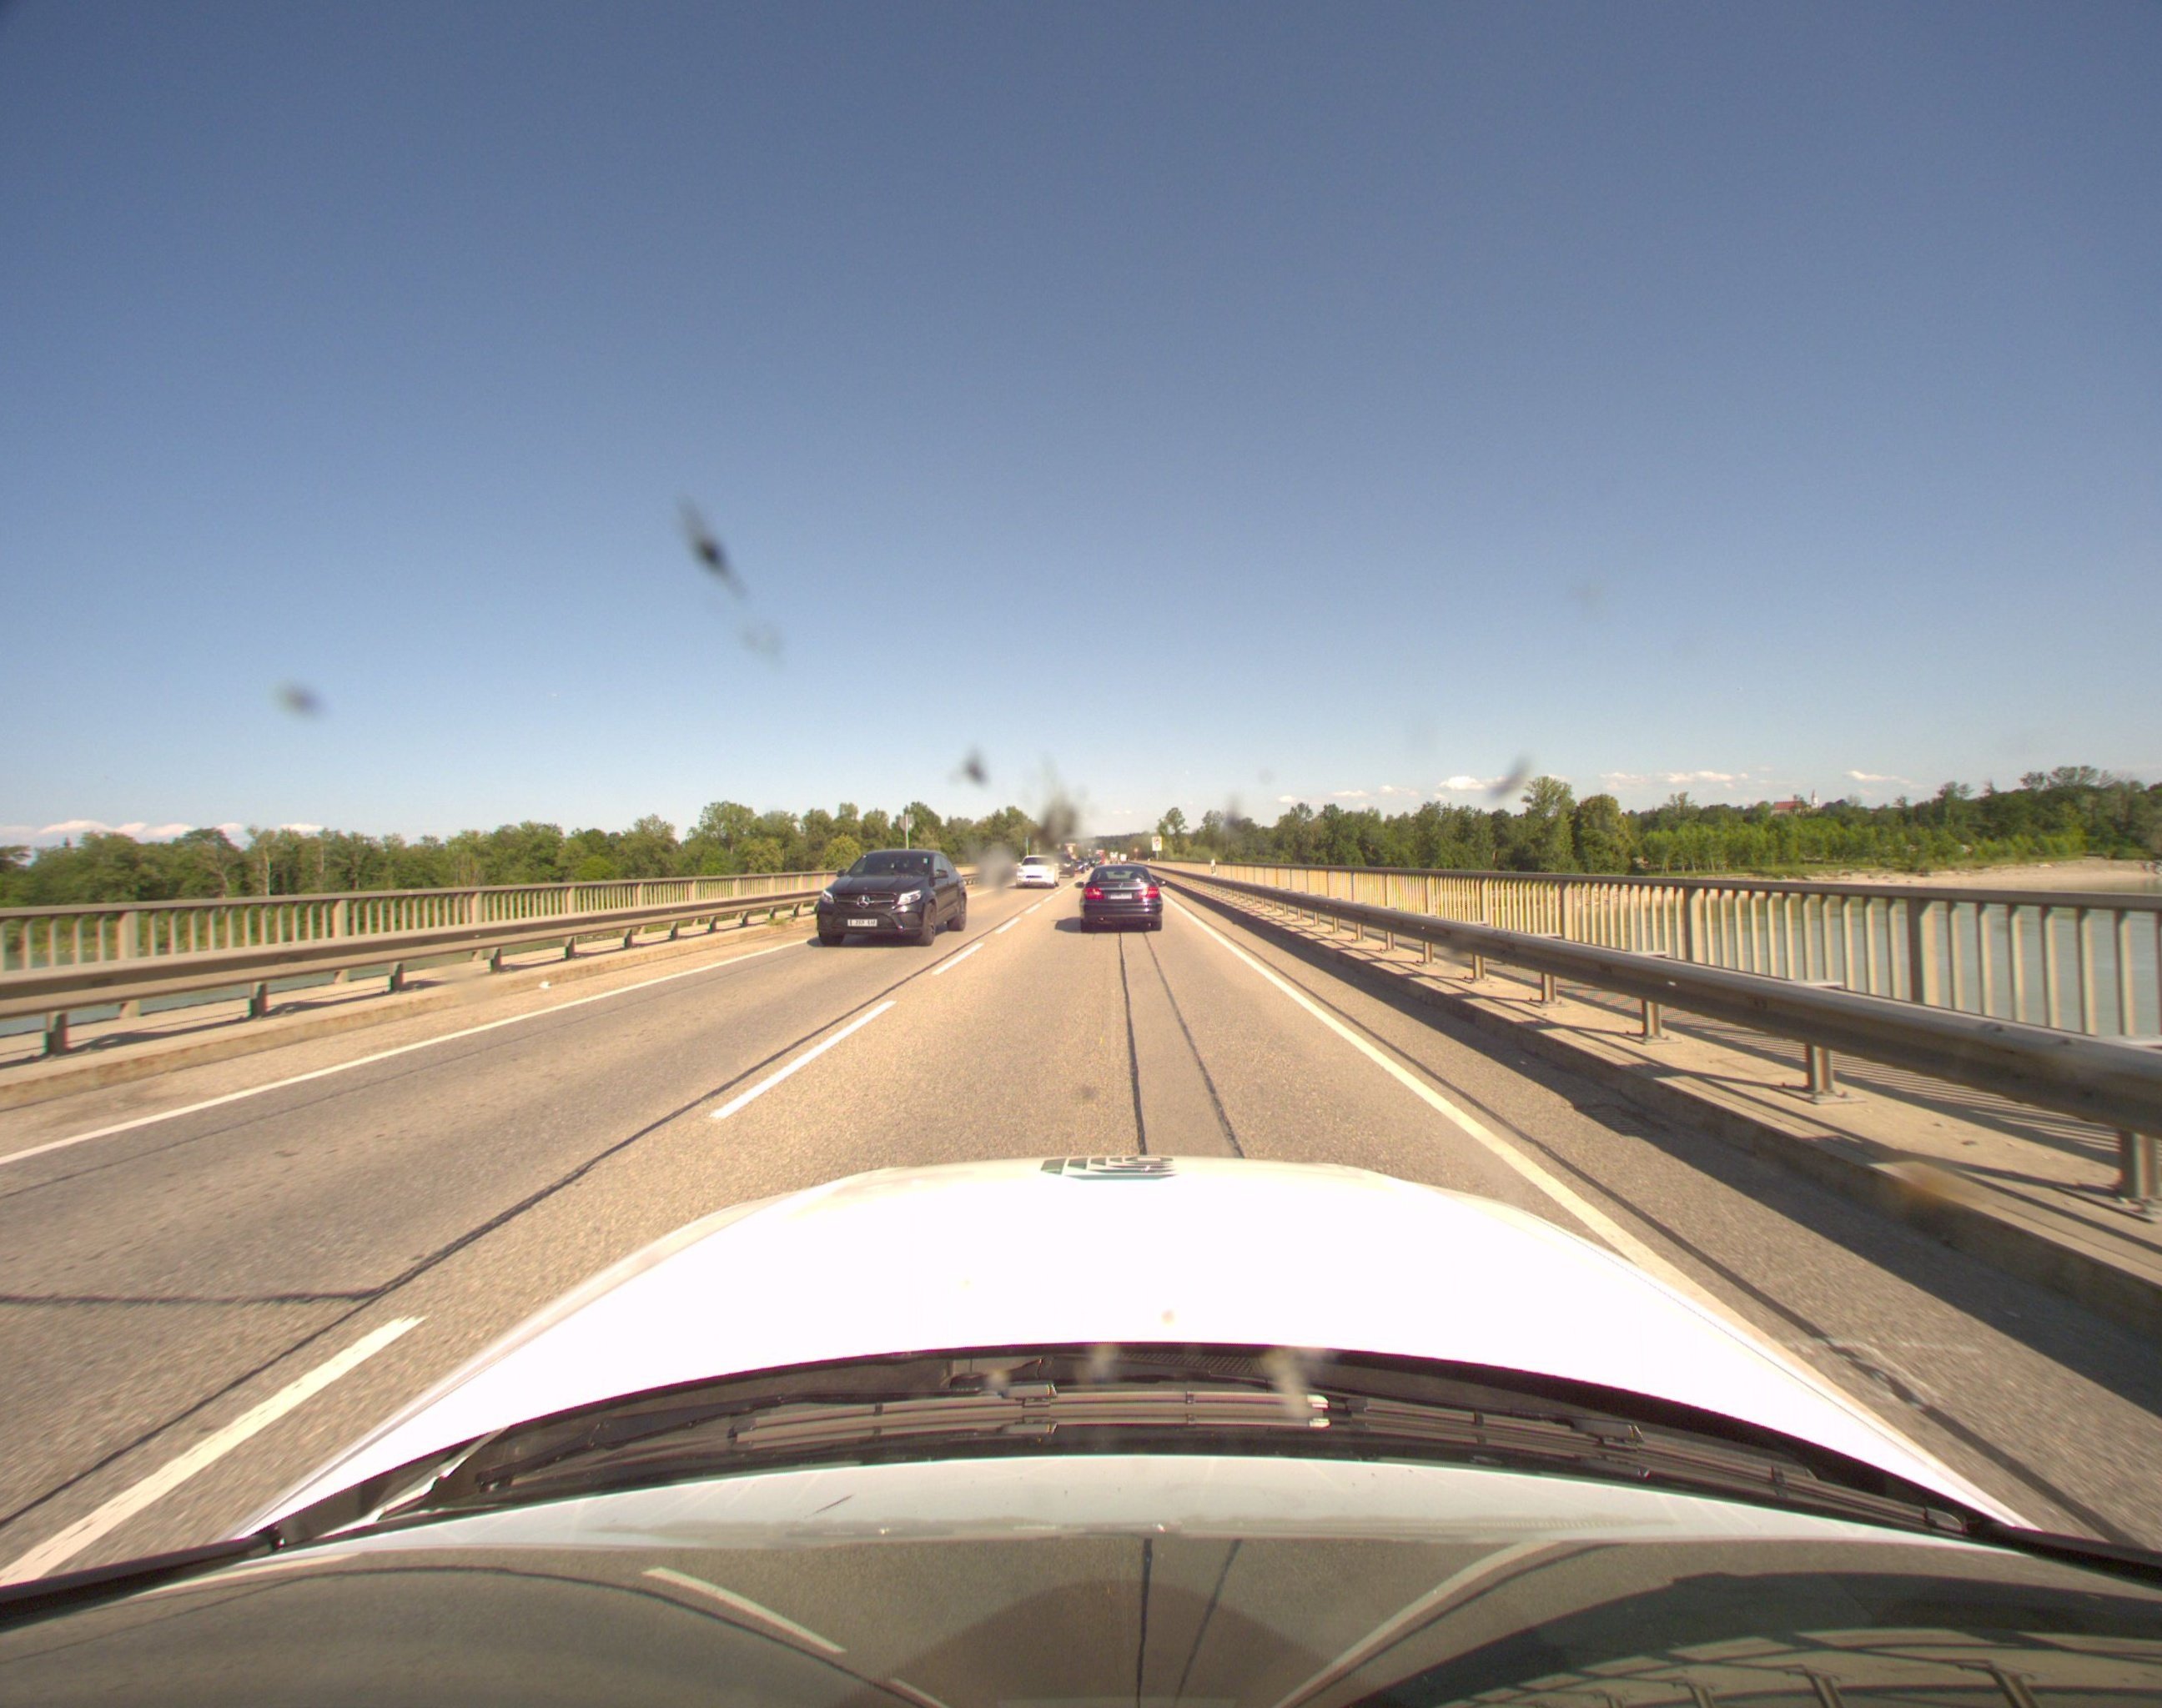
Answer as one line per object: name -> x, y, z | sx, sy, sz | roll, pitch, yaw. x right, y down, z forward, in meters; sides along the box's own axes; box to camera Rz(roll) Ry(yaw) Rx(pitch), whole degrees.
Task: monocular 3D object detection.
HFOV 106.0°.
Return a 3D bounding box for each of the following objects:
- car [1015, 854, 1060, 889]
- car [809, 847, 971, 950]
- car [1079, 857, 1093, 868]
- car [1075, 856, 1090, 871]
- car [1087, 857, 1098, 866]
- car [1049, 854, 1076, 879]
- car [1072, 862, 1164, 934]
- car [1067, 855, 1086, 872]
car -> -2.165, 0.837, 41.854 | 1.976, 1.651, 4.598 | 0, 0, 1
car -> -3.480, 0.745, 15.786 | 1.941, 1.694, 4.478 | -1, 0, 2
car -> 0.792, 1.359, 129.662 | 2.048, 1.652, 4.719 | 1, 0, -1
car -> 0.203, 1.200, 105.154 | 1.848, 1.722, 4.566 | 2, 0, 1
car -> 2.126, 1.301, 146.522 | 1.801, 1.577, 4.199 | 1, 0, -1
car -> -1.447, 0.979, 64.548 | 2.031, 1.873, 5.068 | 1, 0, -1
car -> 0.808, 0.888, 18.026 | 1.786, 1.376, 4.002 | -1, 0, 2
car -> -0.473, 0.912, 81.969 | 1.760, 1.447, 4.454 | 5, 0, -1
